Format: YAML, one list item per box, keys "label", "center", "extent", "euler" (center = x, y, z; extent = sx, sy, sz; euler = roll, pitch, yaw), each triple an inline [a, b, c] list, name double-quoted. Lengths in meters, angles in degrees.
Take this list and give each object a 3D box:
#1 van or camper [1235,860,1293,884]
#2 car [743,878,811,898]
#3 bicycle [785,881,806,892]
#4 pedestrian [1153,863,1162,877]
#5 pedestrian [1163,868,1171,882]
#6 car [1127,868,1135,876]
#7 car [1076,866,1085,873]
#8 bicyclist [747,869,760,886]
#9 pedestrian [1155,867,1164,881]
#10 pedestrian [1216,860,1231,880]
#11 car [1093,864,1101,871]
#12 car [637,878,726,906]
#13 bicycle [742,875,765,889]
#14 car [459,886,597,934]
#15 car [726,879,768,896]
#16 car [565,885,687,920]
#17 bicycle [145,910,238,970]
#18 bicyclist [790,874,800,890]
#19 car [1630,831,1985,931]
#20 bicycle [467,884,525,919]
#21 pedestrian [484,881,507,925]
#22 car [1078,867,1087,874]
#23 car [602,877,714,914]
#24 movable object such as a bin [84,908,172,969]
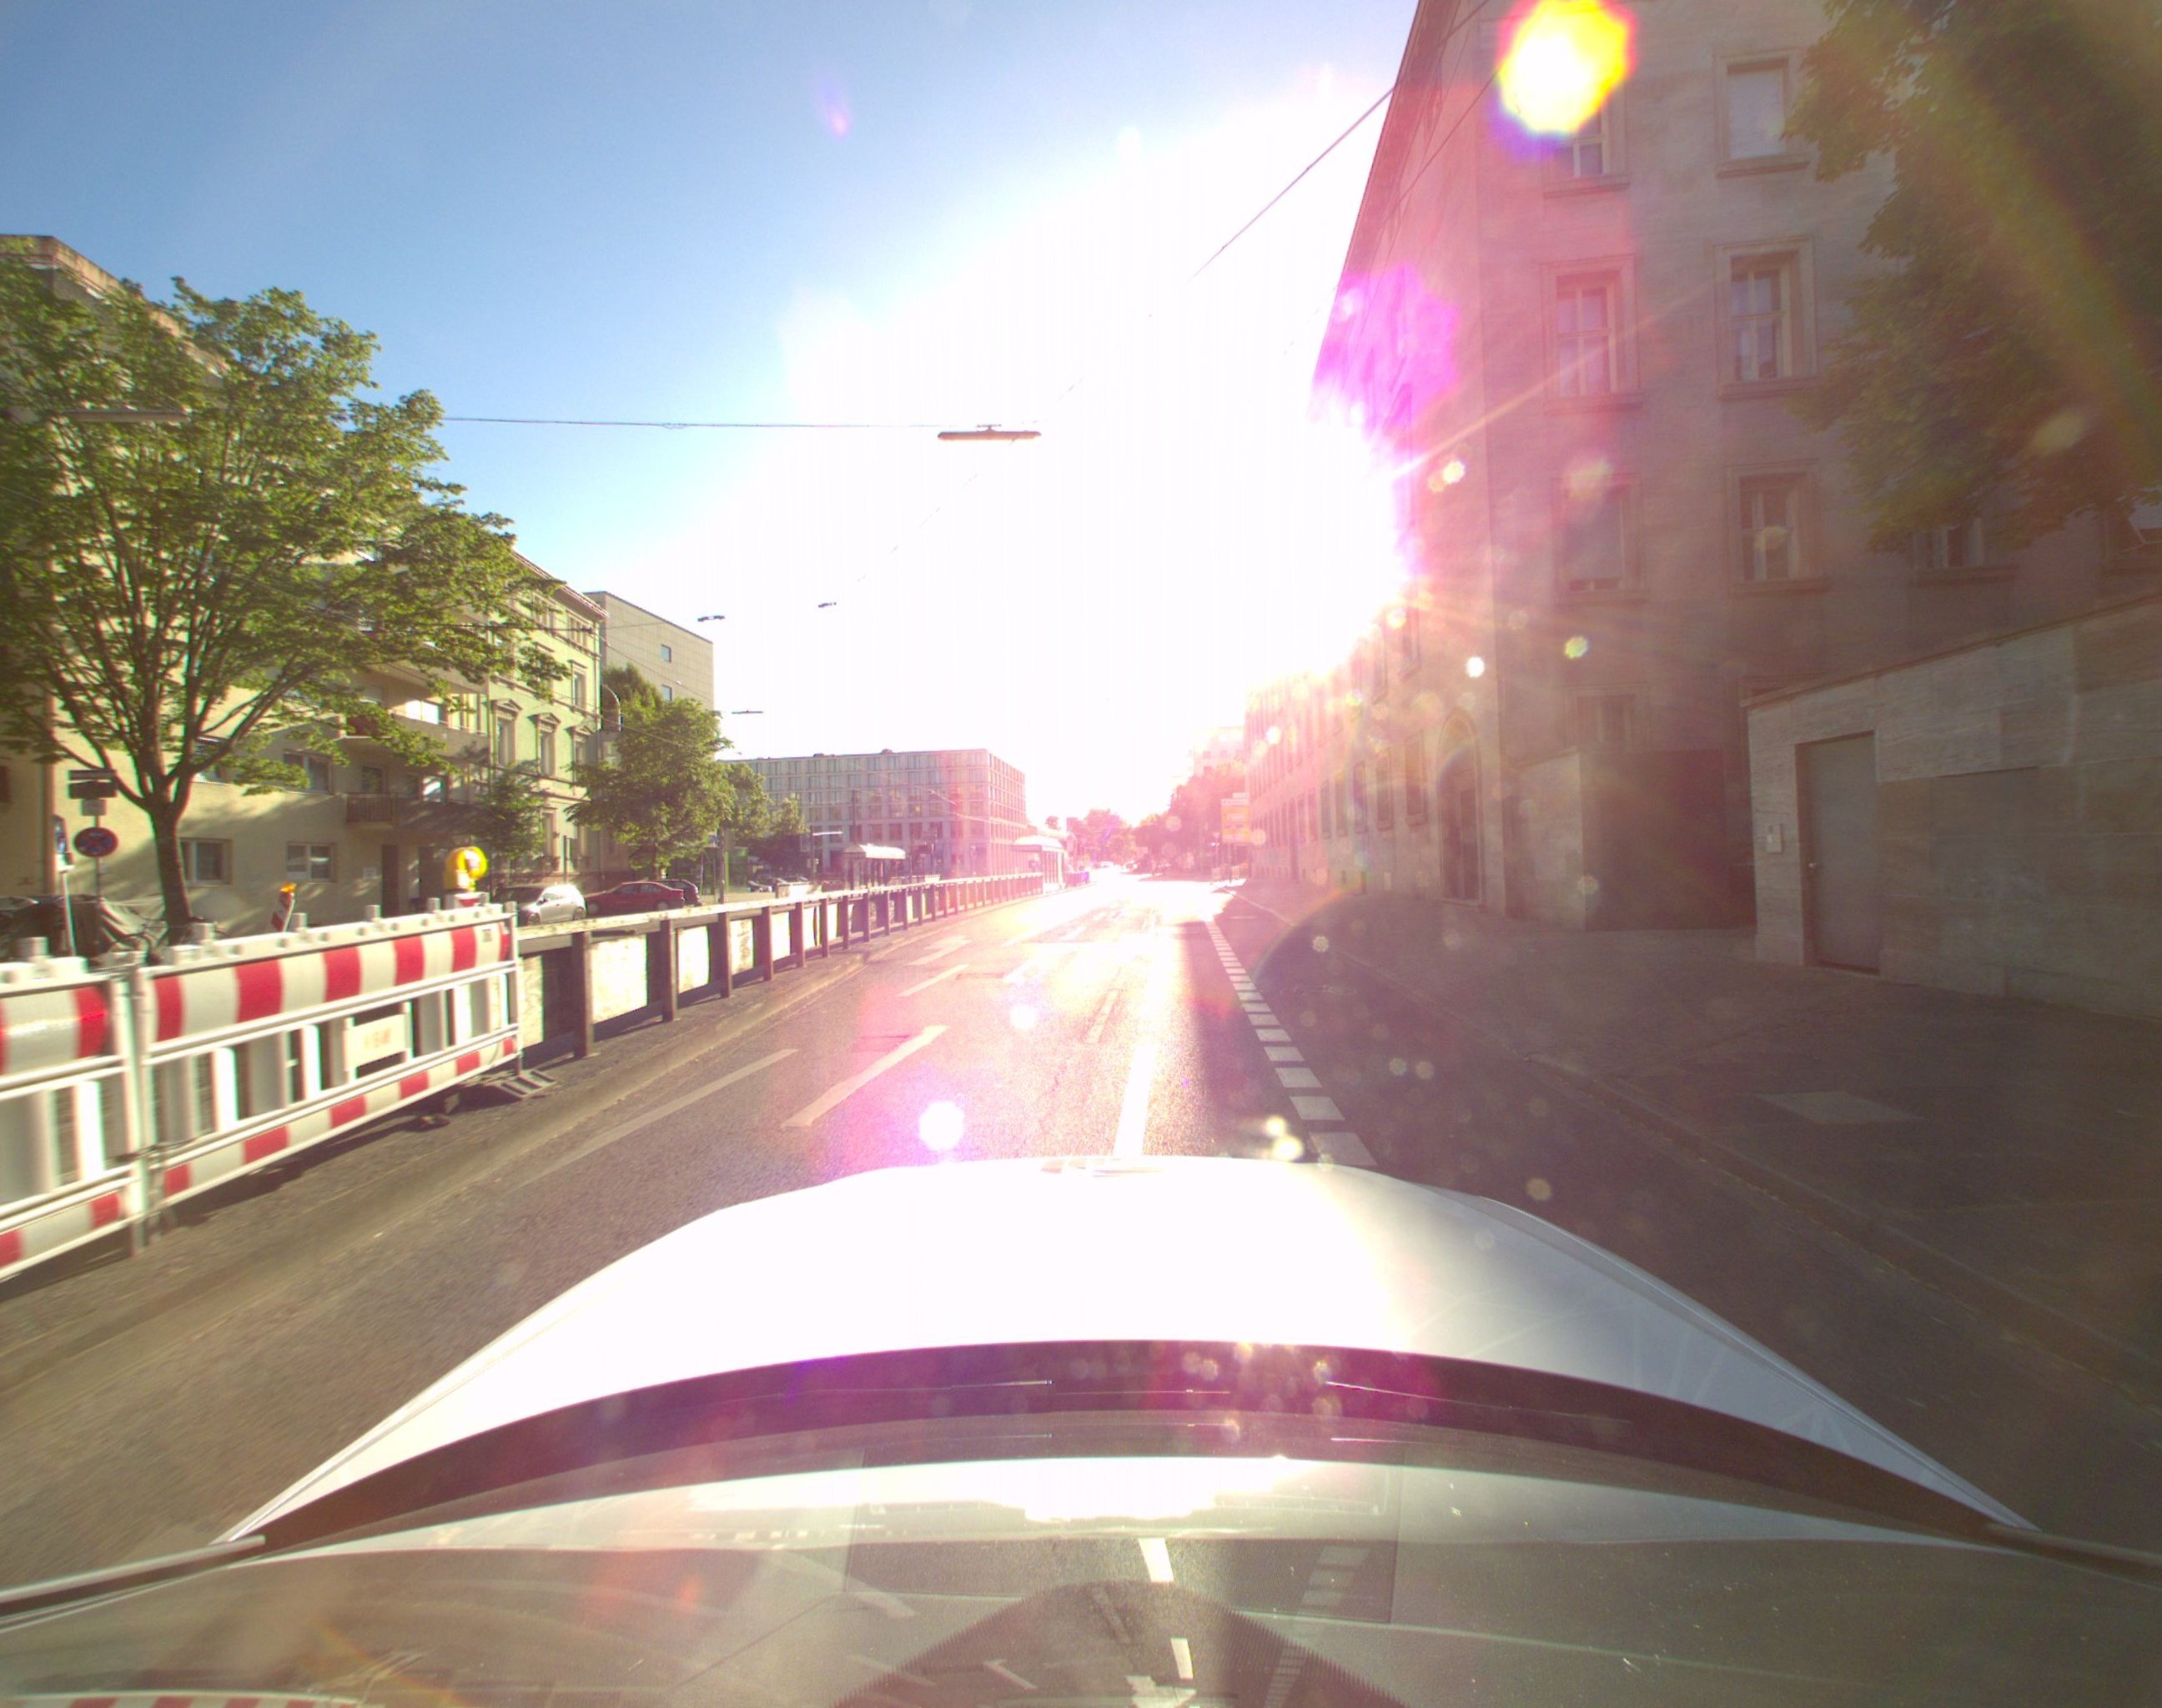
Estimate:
- label: "van or camper"
  center: [21.957, 2.161, 97.803]
  extent: [6.665, 2.862, 2.919]
  euler: [0, -2, 11]
- label: "car"
  center: [-22.106, 2.470, 59.314]
  extent: [4.524, 1.351, 1.576]
  euler: [1, -3, -26]
- label: "bicycle"
  center: [-28.990, 3.289, 82.617]
  extent: [1.908, 1.122, 0.794]
  euler: [-2, -2, 18]
- label: "pedestrian"
  center: [9.920, 2.110, 105.994]
  extent: [0.966, 1.784, 0.777]
  euler: [-2, -2, -10]
- label: "pedestrian"
  center: [11.295, 2.773, 106.620]
  extent: [0.847, 1.784, 0.777]
  euler: [-2, -2, -10]
- label: "car"
  center: [11.162, 3.959, 182.690]
  extent: [1.675, 1.738, 3.514]
  euler: [0, -2, 7]
- label: "car"
  center: [-0.135, 3.791, 196.280]
  extent: [1.810, 1.712, 3.812]
  euler: [-2, -1, 6]
- label: "bicyclist"
  center: [-33.543, 2.448, 83.430]
  extent: [0.884, 1.695, 0.847]
  euler: [-2, -2, 12]
- label: "pedestrian"
  center: [10.399, 2.649, 107.882]
  extent: [0.847, 1.784, 0.777]
  euler: [-2, -2, -10]
- label: "pedestrian"
  center: [12.864, 1.460, 73.361]
  extent: [1.038, 1.721, 1.033]
  euler: [-2, -1, -5]
- label: "car"
  center: [4.338, 3.576, 218.754]
  extent: [1.810, 1.712, 3.812]
  euler: [-2, -1, 6]
- label: "car"
  center: [-23.055, 2.183, 47.079]
  extent: [4.524, 1.570, 1.576]
  euler: [1, -3, -26]
- label: "bicycle"
  center: [-33.535, 2.876, 83.416]
  extent: [2.034, 1.288, 0.889]
  euler: [-2, -1, 11]
- label: "car"
  center: [-18.030, 1.779, 26.813]
  extent: [1.702, 1.410, 4.288]
  euler: [0, -1, -2]
- label: "car"
  center: [-32.605, 3.278, 79.506]
  extent: [3.514, 1.506, 1.524]
  euler: [-1, -1, 4]
- label: "car"
  center: [-20.169, 2.100, 36.208]
  extent: [4.536, 1.426, 1.852]
  euler: [1, -3, -37]
- label: "bicycle"
  center: [-18.355, 1.744, 16.845]
  extent: [0.262, 1.116, 1.407]
  euler: [-2, -1, 6]
- label: "bicyclist"
  center: [-29.016, 2.845, 82.638]
  extent: [0.613, 1.583, 0.597]
  euler: [-2, -2, 18]
- label: "car"
  center: [13.031, 0.455, 14.888]
  extent: [4.598, 1.532, 1.951]
  euler: [-2, 0, 4]
- label: "bicycle"
  center: [-25.289, 2.035, 35.268]
  extent: [0.716, 1.398, 3.002]
  euler: [-1, -1, -8]
- label: "pedestrian"
  center: [-22.713, 1.910, 31.601]
  extent: [0.509, 1.671, 0.490]
  euler: [-2, -2, -1]
- label: "car"
  center: [0.369, 4.074, 207.206]
  extent: [1.810, 1.712, 3.812]
  euler: [-2, -1, 6]
- label: "car"
  center: [-20.264, 1.959, 39.131]
  extent: [4.538, 1.642, 1.571]
  euler: [1, -3, -39]
- label: "movable object such as a bin"
  center: [-19.369, 1.699, 16.580]
  extent: [0.424, 1.126, 1.147]
  euler: [-2, -2, 0]
